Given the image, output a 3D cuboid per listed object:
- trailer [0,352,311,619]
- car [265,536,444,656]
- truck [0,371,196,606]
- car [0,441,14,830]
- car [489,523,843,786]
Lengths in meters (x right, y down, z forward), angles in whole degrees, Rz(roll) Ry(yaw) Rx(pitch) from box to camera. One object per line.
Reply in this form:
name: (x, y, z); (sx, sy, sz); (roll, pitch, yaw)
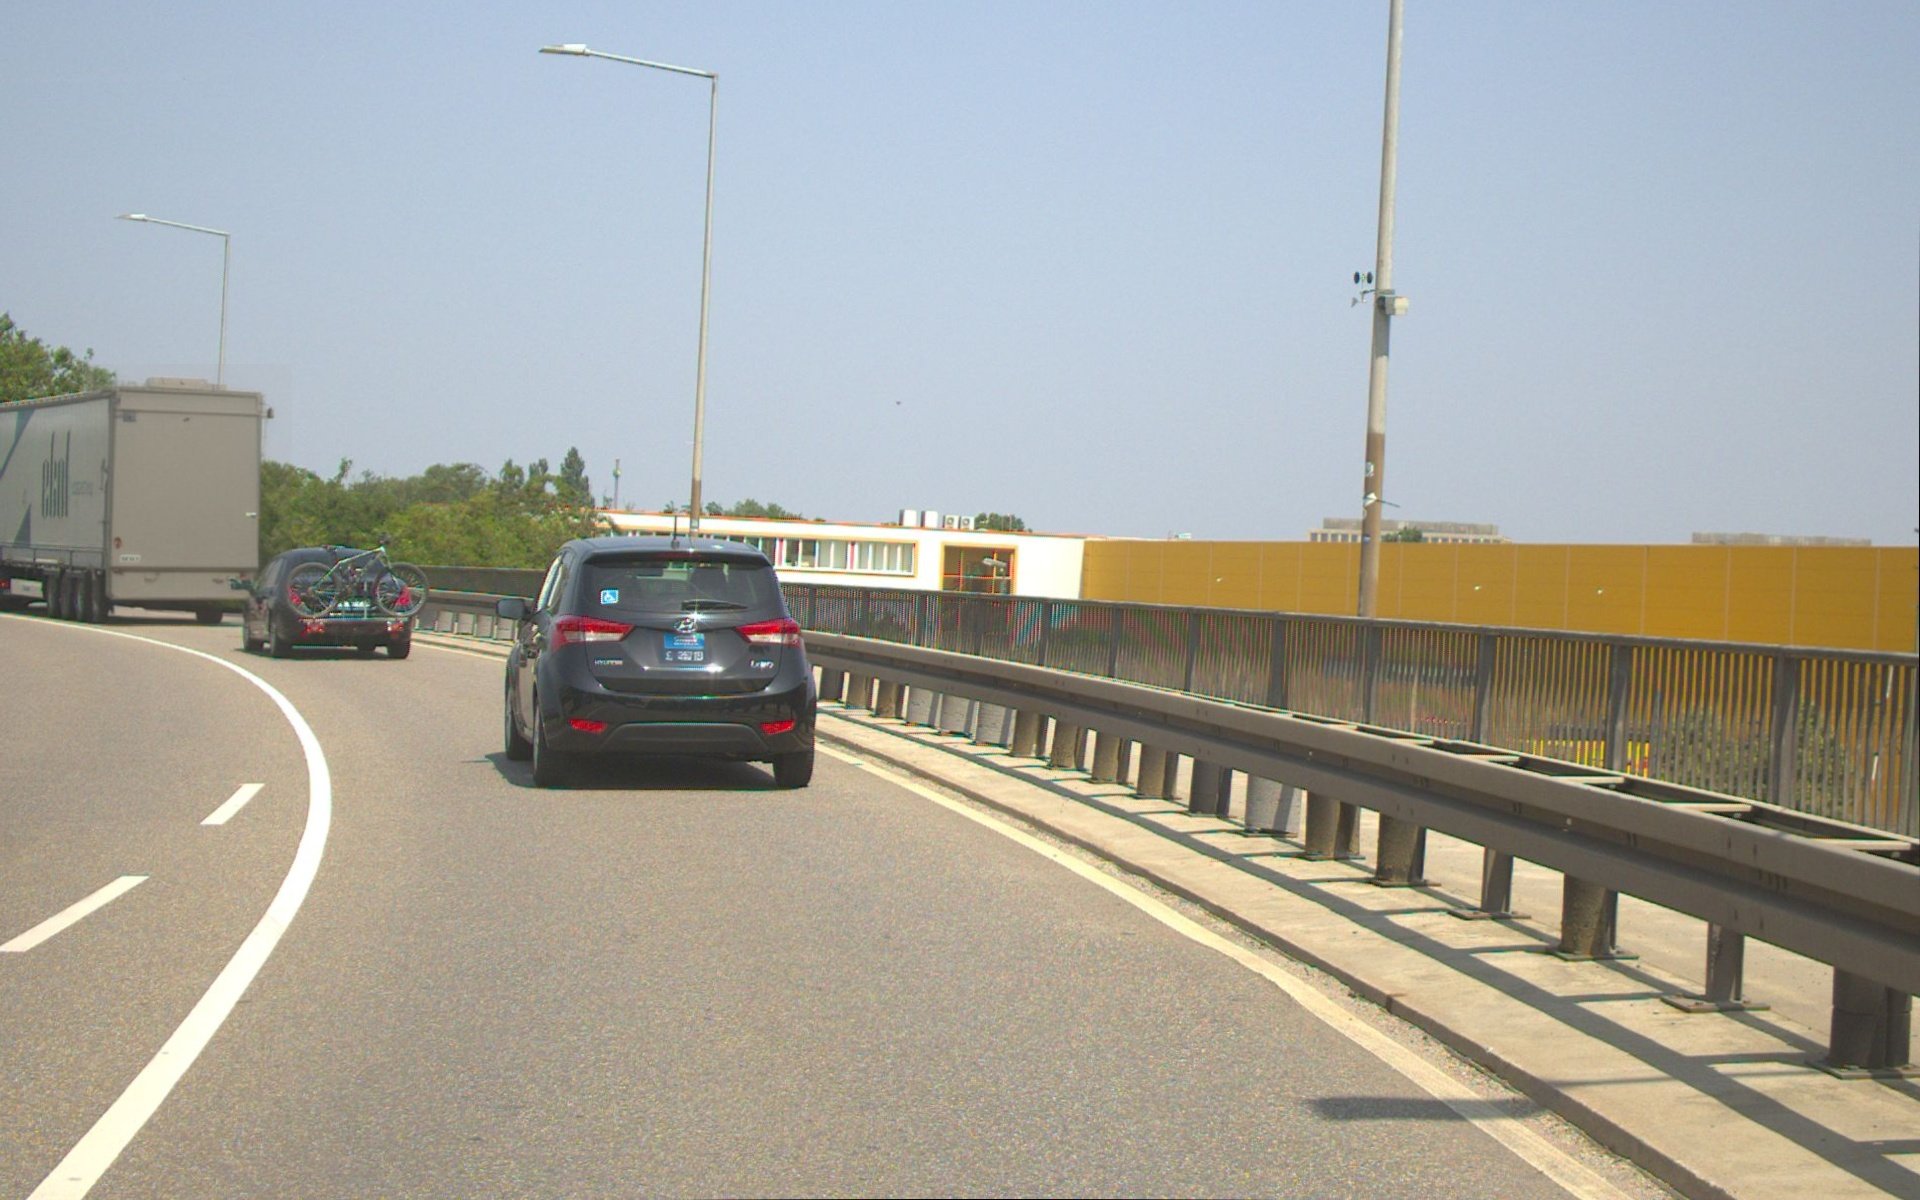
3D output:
trailer: (-15.089, -2.062, 63.017); (3.569, 4.369, 11.444); (1, 1, -24)
car: (-7.896, -0.082, 44.609); (2.011, 1.424, 3.778); (1, 1, -14)
truck: (-17.995, -2.228, 69.377); (3.572, 4.425, 6.517); (1, 1, -25)
car: (-5.604, 0.208, 15.562); (1.860, 1.993, 4.815); (0, 1, -7)
car: (-2.059, 0.300, 23.039); (1.921, 1.568, 3.893); (1, 1, -11)
